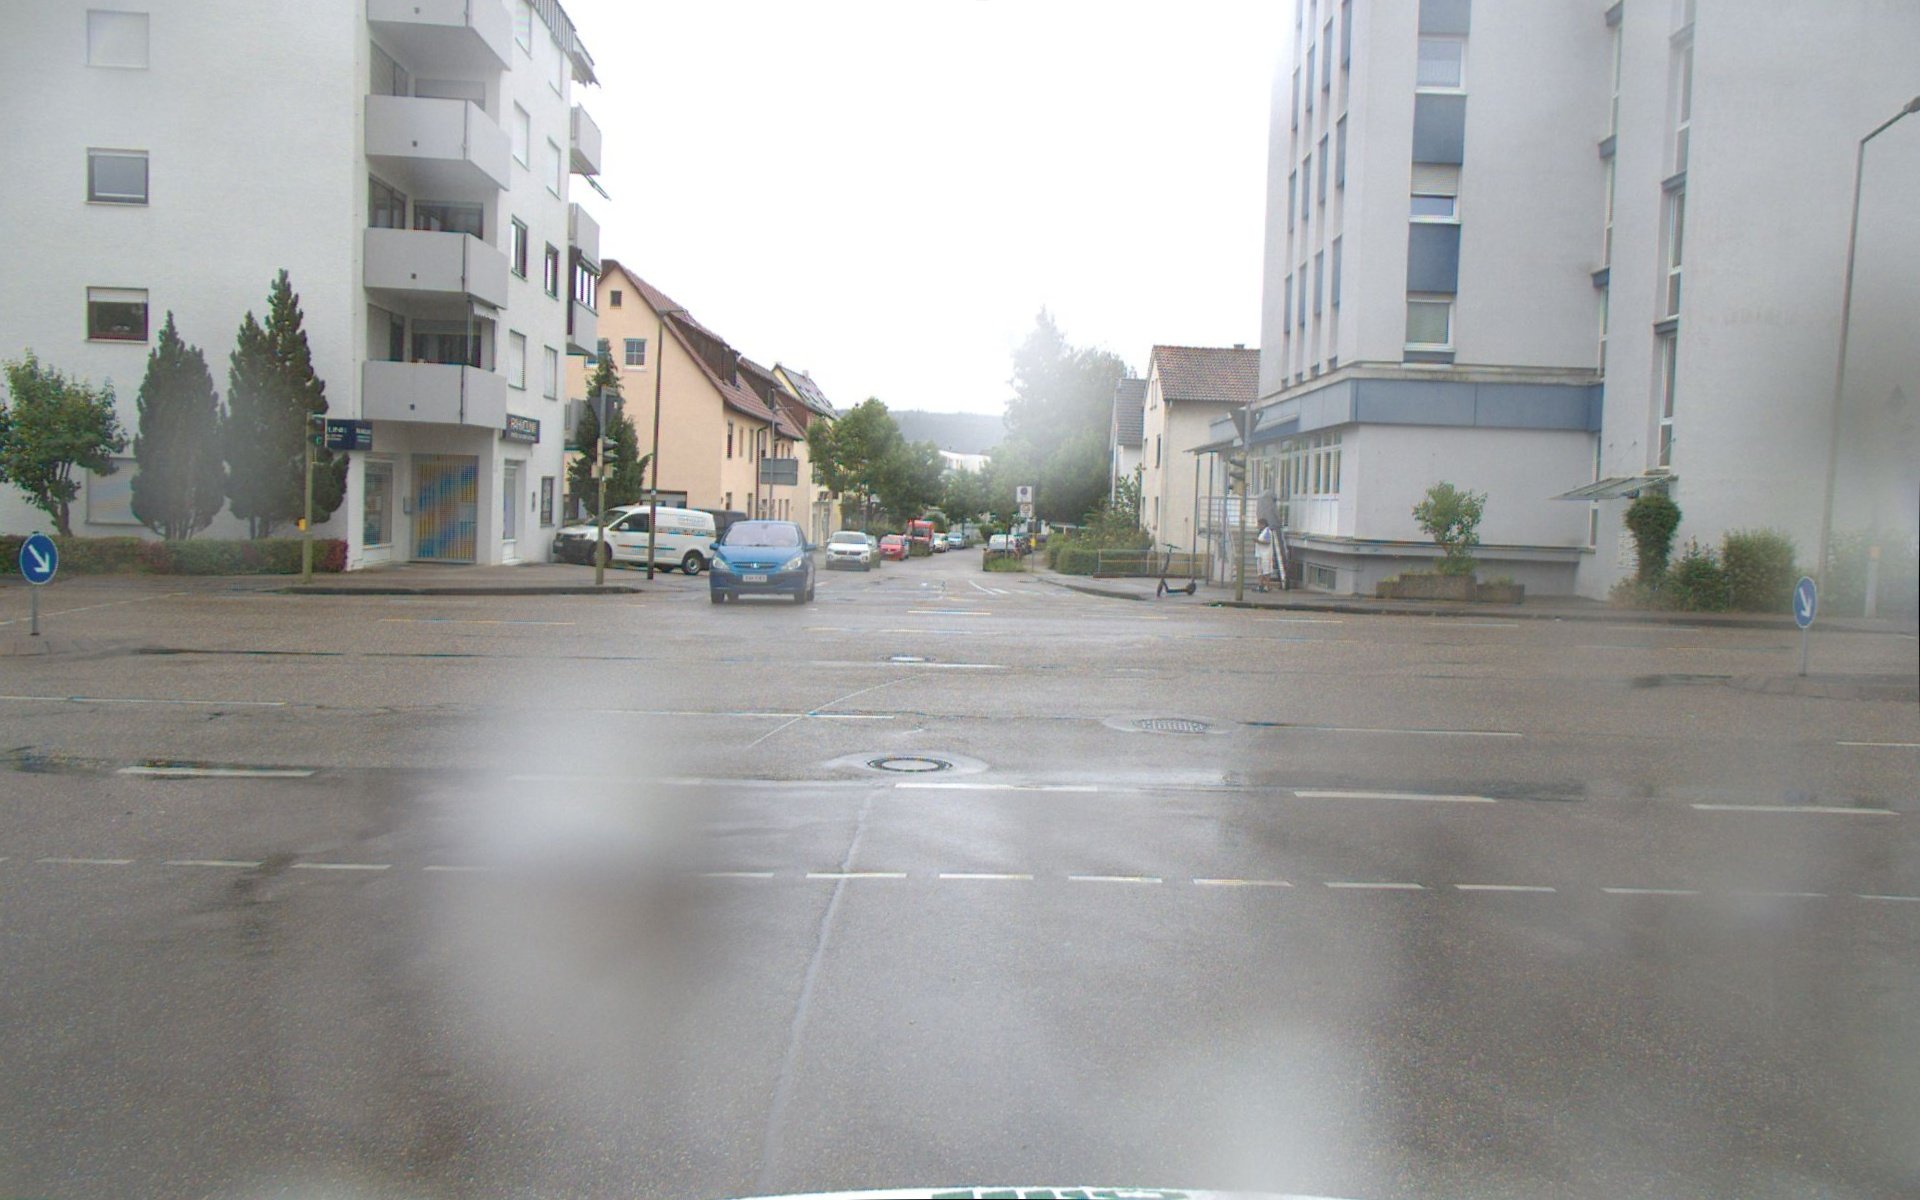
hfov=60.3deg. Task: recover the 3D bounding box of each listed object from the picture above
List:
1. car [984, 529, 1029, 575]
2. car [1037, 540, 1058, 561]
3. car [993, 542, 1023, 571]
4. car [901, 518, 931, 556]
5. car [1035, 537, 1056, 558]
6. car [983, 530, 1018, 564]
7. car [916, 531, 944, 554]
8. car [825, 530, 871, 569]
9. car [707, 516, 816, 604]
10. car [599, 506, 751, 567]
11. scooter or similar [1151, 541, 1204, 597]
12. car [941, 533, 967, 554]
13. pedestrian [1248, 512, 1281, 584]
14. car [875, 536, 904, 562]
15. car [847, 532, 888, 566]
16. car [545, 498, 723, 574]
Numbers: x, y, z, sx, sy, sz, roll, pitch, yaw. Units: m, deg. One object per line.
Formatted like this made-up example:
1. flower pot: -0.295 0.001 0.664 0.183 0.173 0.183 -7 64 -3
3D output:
1. car: 2.294 -2.316 81.000 1.951 2.049 4.002 1 0 4
2. car: 9.035 -5.106 170.513 1.951 2.048 4.003 1 2 4
3. car: 3.432 -3.118 118.454 1.951 2.048 4.003 1 2 4
4. car: -3.344 -4.814 126.367 2.171 2.816 5.724 0 2 -1
5. car: 8.401 -5.117 161.872 1.951 2.048 4.003 1 2 4
6. car: 2.561 -3.280 103.228 1.951 2.048 4.003 1 2 4
7. car: -2.516 -4.787 138.301 1.951 1.713 4.002 1 0 4
8. car: -4.539 -2.051 67.556 1.732 1.549 3.999 0 2 -2
9. car: -3.596 -0.679 30.482 1.732 1.471 3.997 1 0 -3
10. car: -9.308 -2.056 54.224 4.578 1.922 1.935 -1 2 -40
11. scooter or similar: 5.043 -0.715 38.379 1.039 1.249 0.800 1 -1 -10
12. car: -0.560 -5.252 154.306 1.951 1.736 4.002 1 0 6
13. pedestrian: 7.283 -1.229 39.540 0.641 1.680 0.646 1 -1 0
14. car: -4.461 -3.196 103.966 1.732 1.545 3.998 0 2 -3
15. car: -4.401 -2.424 79.007 1.731 1.545 4.195 0 2 0
16. car: -9.259 -1.792 47.214 4.684 1.809 1.748 3 -1 -40
